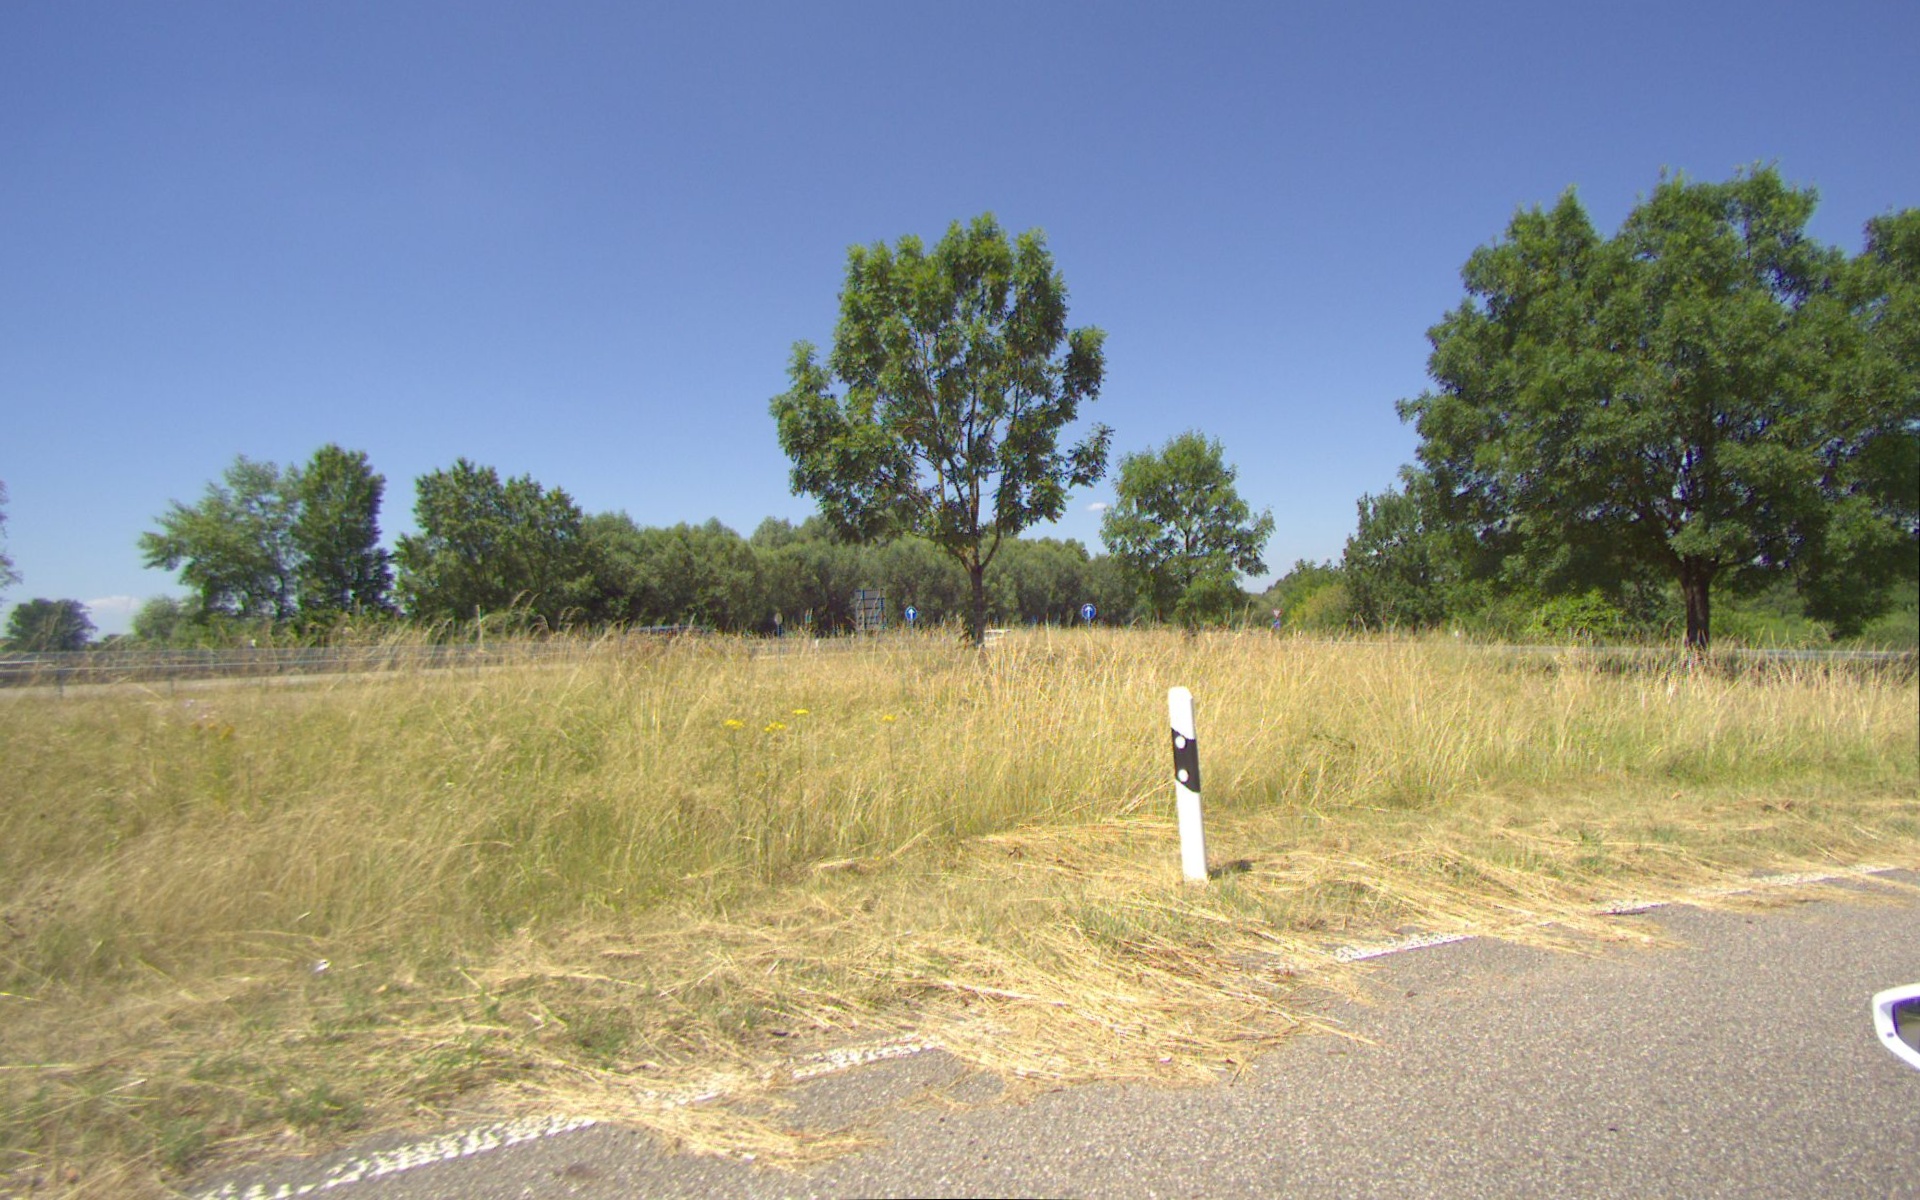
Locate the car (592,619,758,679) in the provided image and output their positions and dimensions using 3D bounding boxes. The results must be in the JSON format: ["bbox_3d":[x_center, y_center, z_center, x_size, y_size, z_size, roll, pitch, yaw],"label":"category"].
[{"bbox_3d":[-7.736,1.297,27.856,1.854,1.500,5.004,-1,-1,20],"label":"car"}]

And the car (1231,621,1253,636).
[{"bbox_3d":[31.914,3.238,113.607,2.003,1.695,3.999,0,-1,22],"label":"car"}]
